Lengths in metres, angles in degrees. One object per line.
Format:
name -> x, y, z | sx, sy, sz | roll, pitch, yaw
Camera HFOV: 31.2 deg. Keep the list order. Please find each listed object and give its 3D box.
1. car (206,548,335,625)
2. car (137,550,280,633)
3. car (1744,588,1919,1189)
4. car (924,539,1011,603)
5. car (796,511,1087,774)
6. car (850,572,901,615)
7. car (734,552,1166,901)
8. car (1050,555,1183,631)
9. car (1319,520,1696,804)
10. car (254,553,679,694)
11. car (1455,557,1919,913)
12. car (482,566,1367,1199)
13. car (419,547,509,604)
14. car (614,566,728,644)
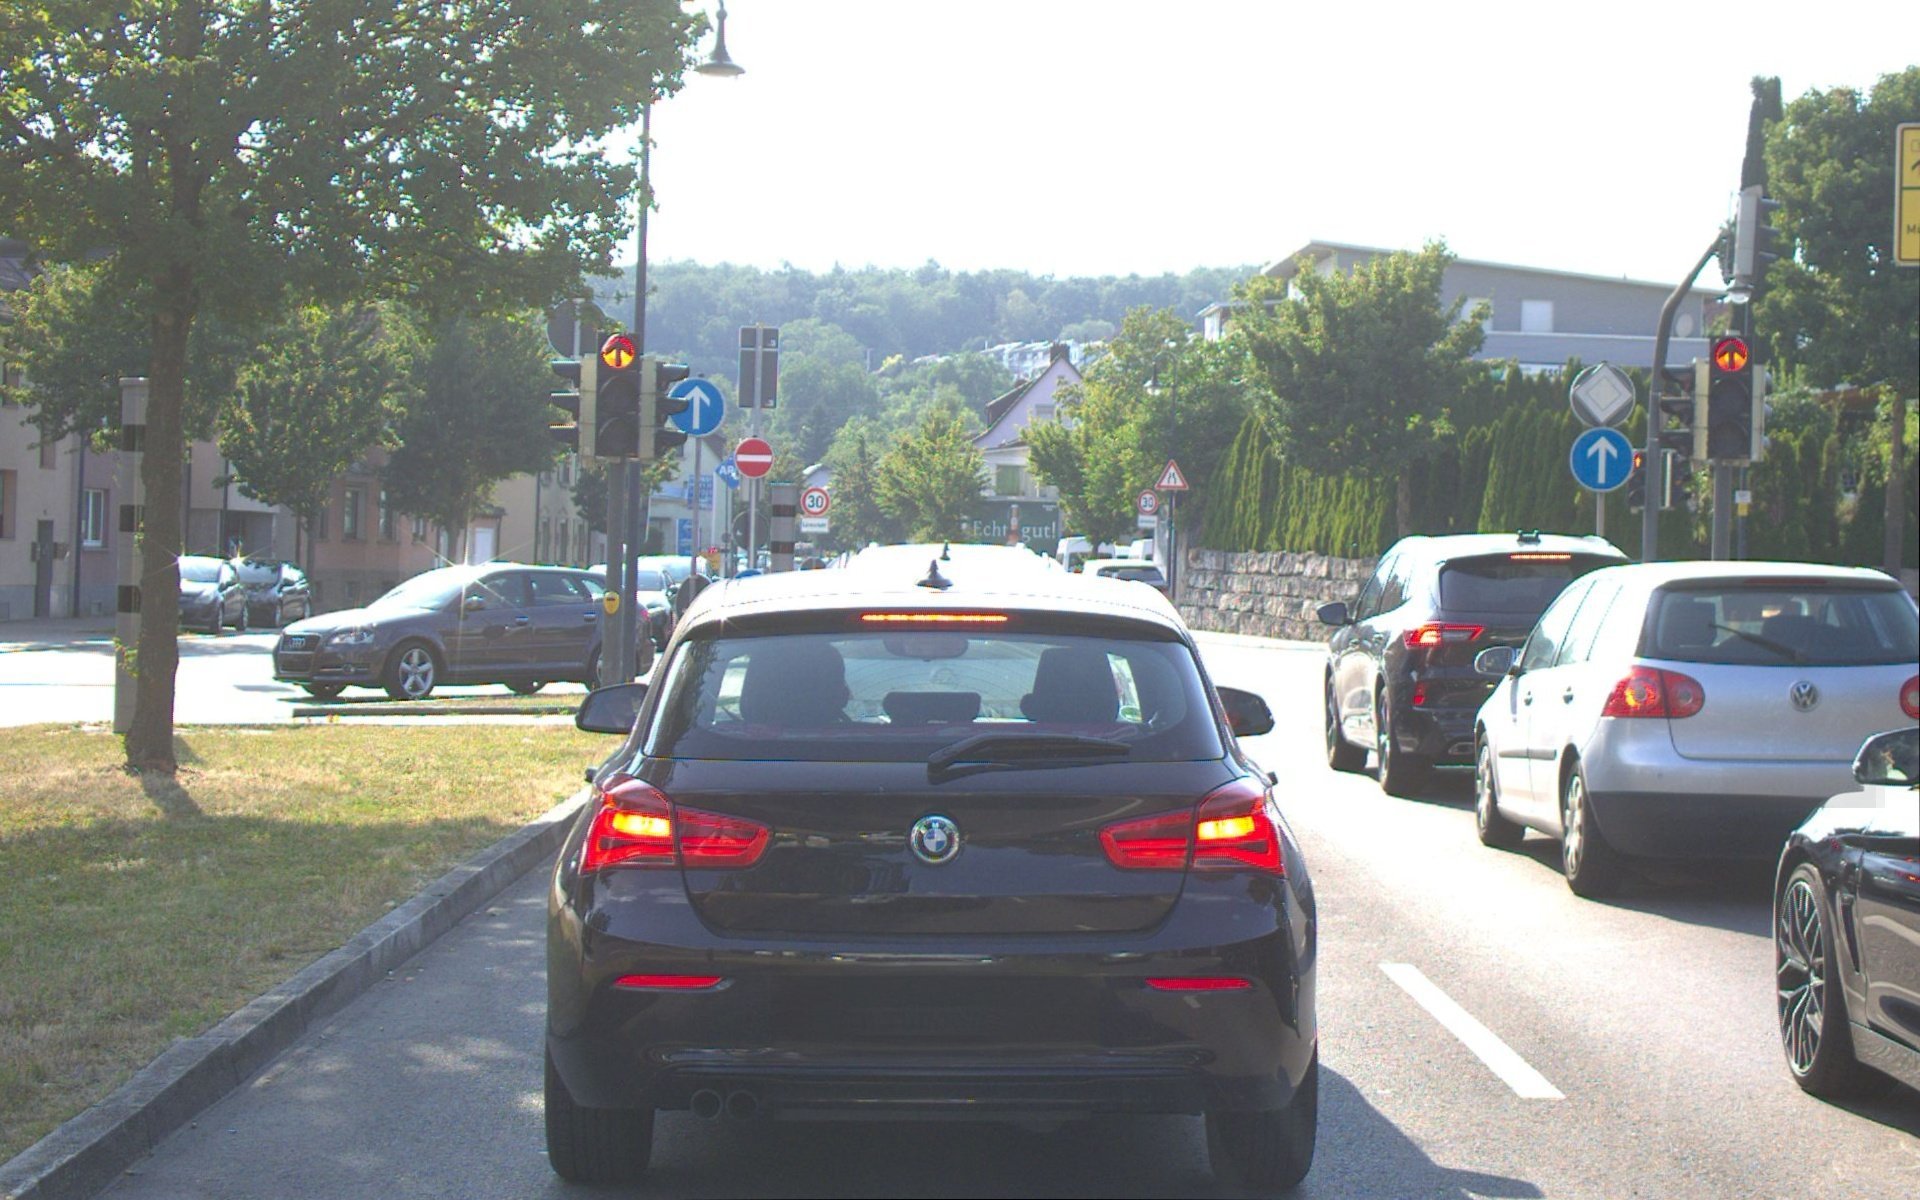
car -> -14.983, -0.313, 74.890 | 1.924, 1.590, 4.000 | 1, 1, 1
car -> -15.152, -0.199, 69.498 | 1.924, 1.590, 4.000 | 1, 1, 1
car -> 3.164, 0.704, 7.804 | 1.816, 1.384, 4.347 | 1, 1, 1
car -> 0.177, -0.819, 94.490 | 1.890, 1.696, 4.525 | 0, 1, -6
car -> -0.084, 0.234, 23.818 | 1.816, 1.635, 4.242 | 1, 1, 1
car -> -3.290, -0.276, 134.966 | 1.924, 1.590, 4.000 | 1, 1, -1
car -> -0.011, 0.507, 16.718 | 1.816, 1.446, 4.242 | 1, 1, 1
car -> 3.243, -0.173, 72.216 | 1.861, 1.480, 4.660 | 1, 1, -9
car -> 3.471, 0.333, 22.537 | 1.816, 1.660, 4.347 | 1, 1, 1
car -> -5.153, 0.228, 36.204 | 4.177, 1.382, 1.650 | 0, 1, -40
car -> 3.562, 0.536, 16.410 | 1.816, 1.441, 4.347 | 1, 1, 1
car -> -0.043, 0.638, 9.189 | 1.791, 1.410, 4.347 | 1, 1, 1
car -> -14.361, -0.726, 99.662 | 1.924, 1.590, 4.000 | 1, 1, 1
car -> -5.378, 0.070, 64.295 | 1.693, 1.348, 4.000 | 1, 1, 1
